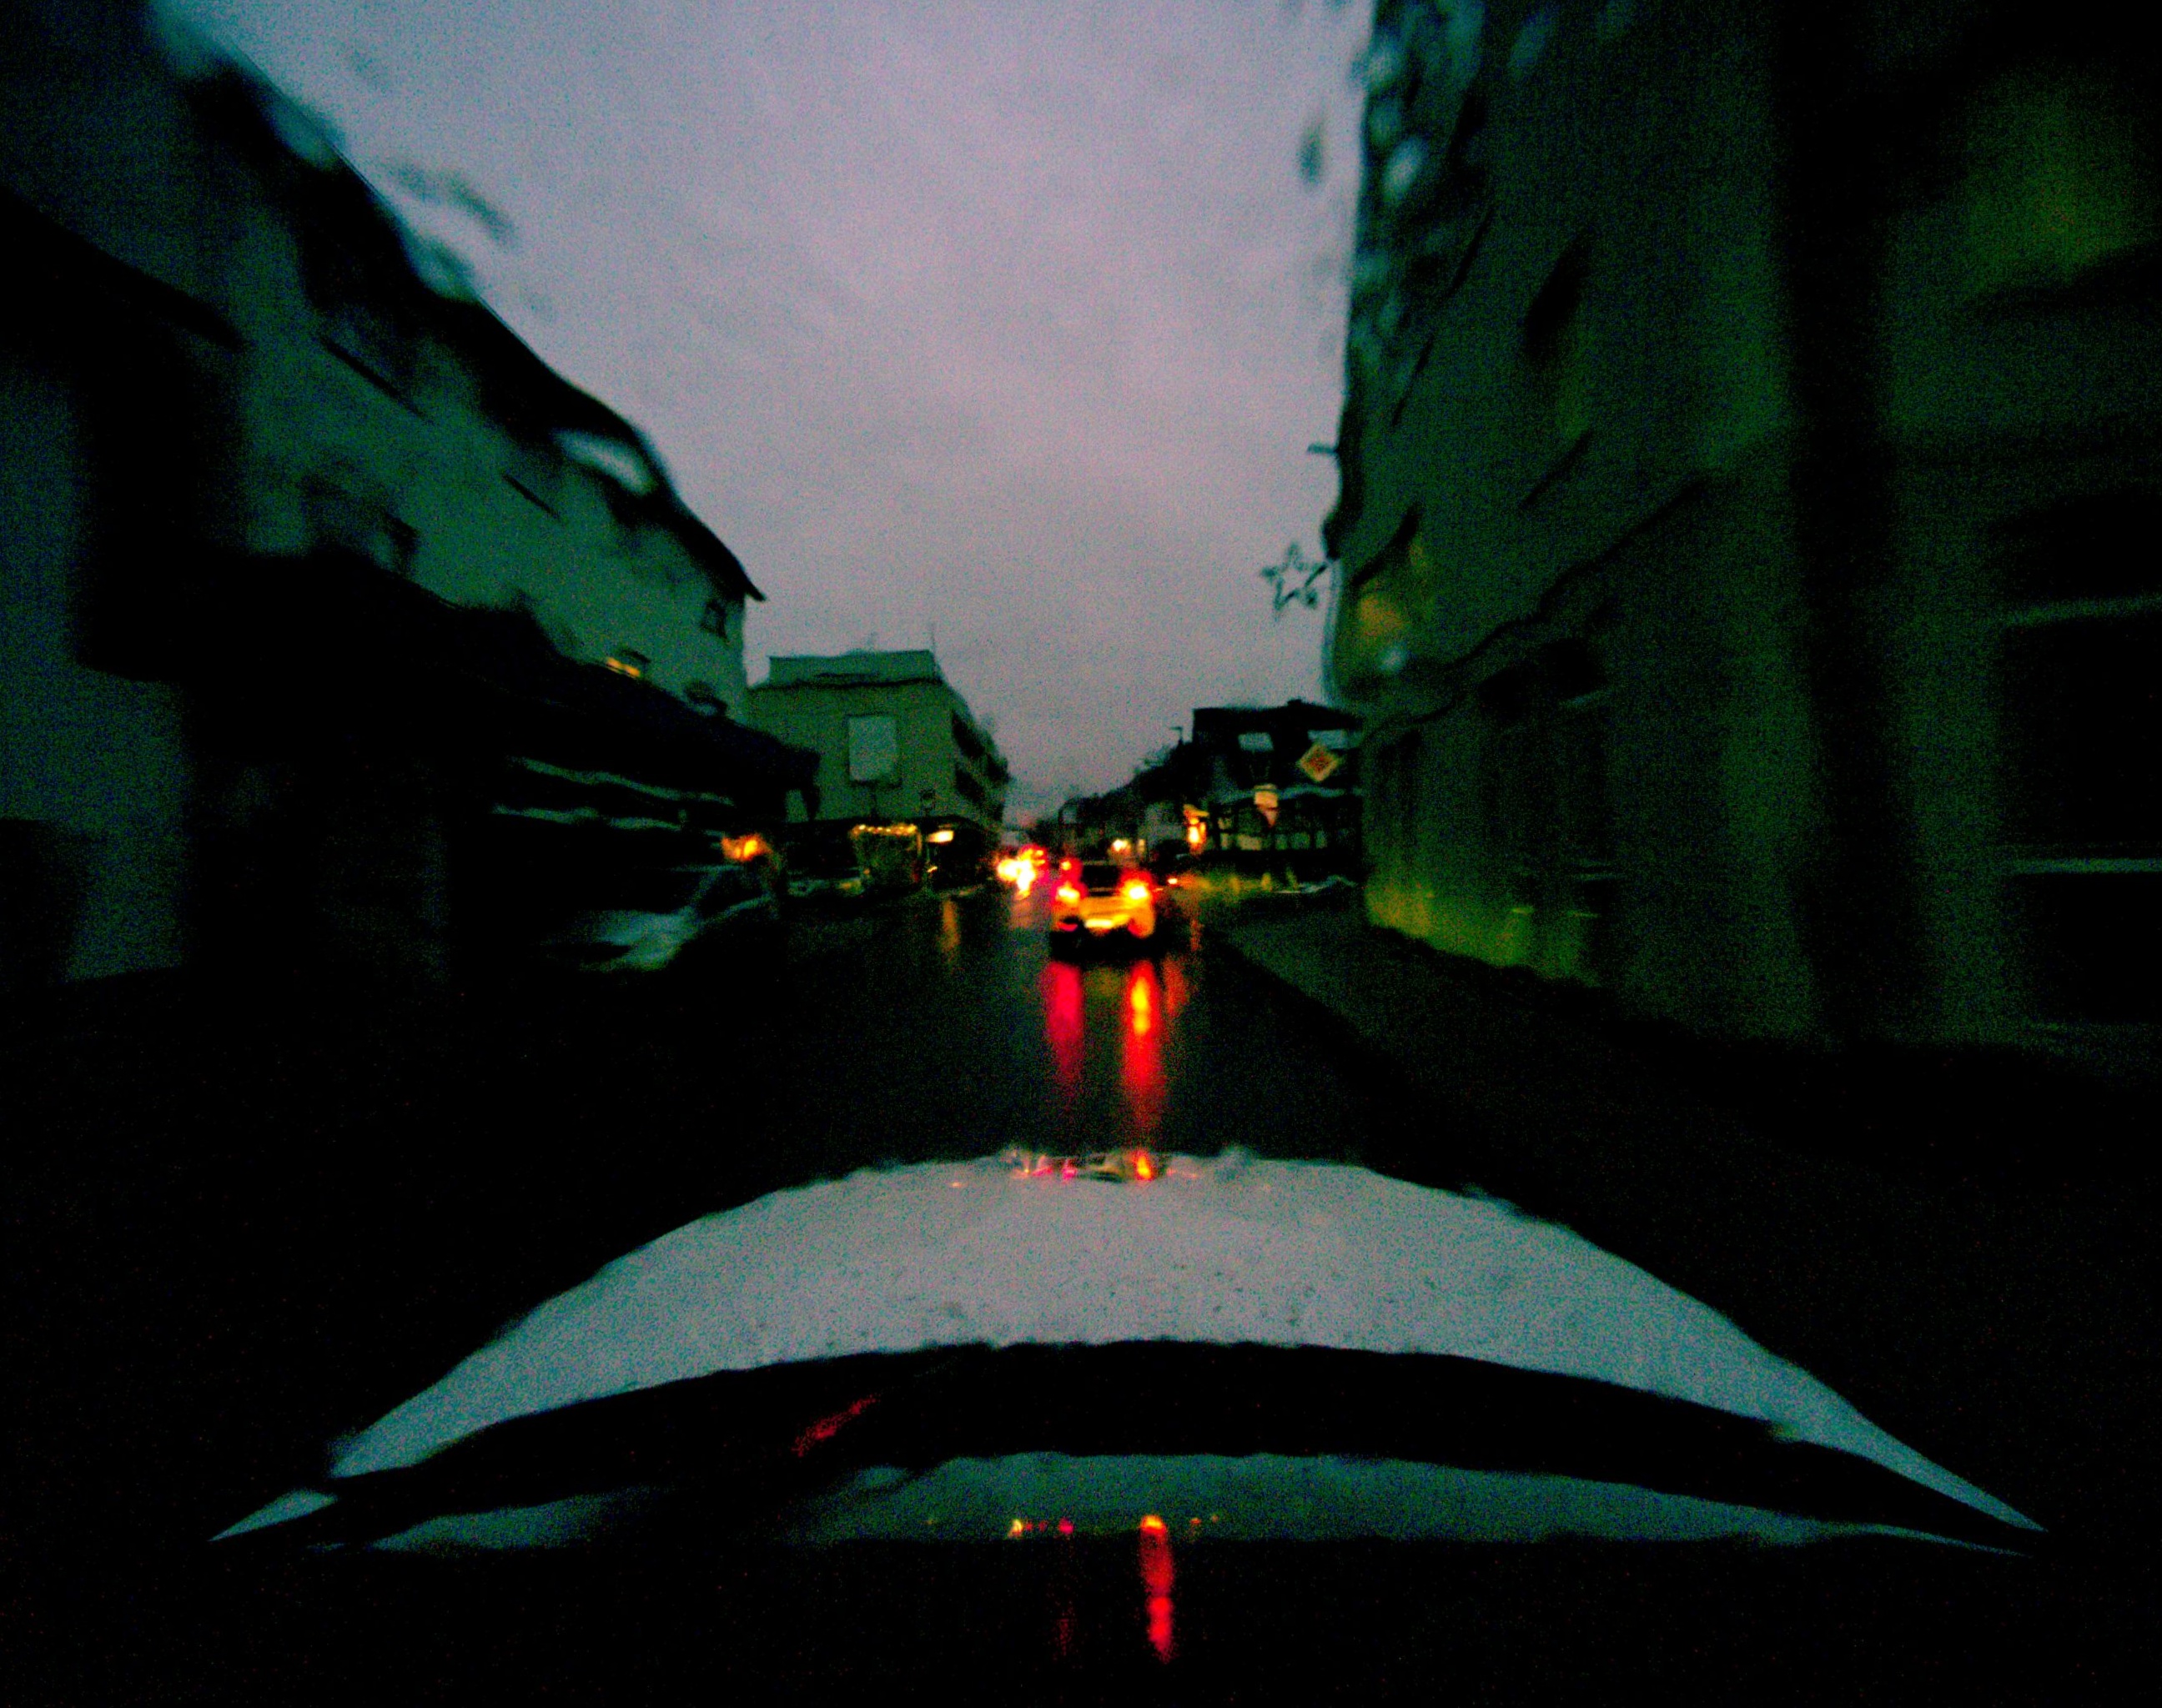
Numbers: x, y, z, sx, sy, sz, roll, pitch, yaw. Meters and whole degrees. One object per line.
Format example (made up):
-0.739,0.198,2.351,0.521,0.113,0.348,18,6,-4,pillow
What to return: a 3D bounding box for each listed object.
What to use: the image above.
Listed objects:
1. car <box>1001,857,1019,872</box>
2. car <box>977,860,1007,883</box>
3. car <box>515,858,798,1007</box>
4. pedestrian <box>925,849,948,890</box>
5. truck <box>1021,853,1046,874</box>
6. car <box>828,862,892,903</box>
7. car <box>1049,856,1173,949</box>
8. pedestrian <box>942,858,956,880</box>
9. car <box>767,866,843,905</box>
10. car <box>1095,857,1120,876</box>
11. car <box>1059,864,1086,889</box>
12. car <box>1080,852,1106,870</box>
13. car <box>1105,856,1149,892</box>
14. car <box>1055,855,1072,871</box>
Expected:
-8.057,1.172,91.881,1.793,1.642,3.801,0,0,-8,car
-6.116,1.183,56.312,1.609,1.533,3.928,0,0,0,car
-5.380,0.883,10.957,1.715,1.614,3.816,0,0,1,car
-7.056,0.760,39.711,0.974,1.938,1.197,-2,0,-13,pedestrian
-7.504,1.444,128.298,3.016,3.129,7.971,-1,0,-11,truck
-9.701,1.216,36.036,1.760,1.499,4.446,-3,1,-3,car
0.678,0.793,14.900,1.760,1.447,3.737,-2,0,10,car
-7.838,0.894,48.416,0.753,1.310,0.828,-1,-1,-2,pedestrian
-12.356,1.374,36.761,1.691,1.400,4.453,-3,1,2,car
2.248,1.027,69.570,1.789,1.460,4.528,-4,0,-1,car
-0.535,1.418,51.925,1.633,1.481,3.378,-1,-1,0,car
1.120,0.666,78.591,1.880,1.547,4.662,-3,0,-6,car
2.081,0.897,37.828,1.727,1.459,3.999,-4,-1,0,car
-1.664,0.879,78.012,1.633,1.481,3.270,-1,0,-1,car
